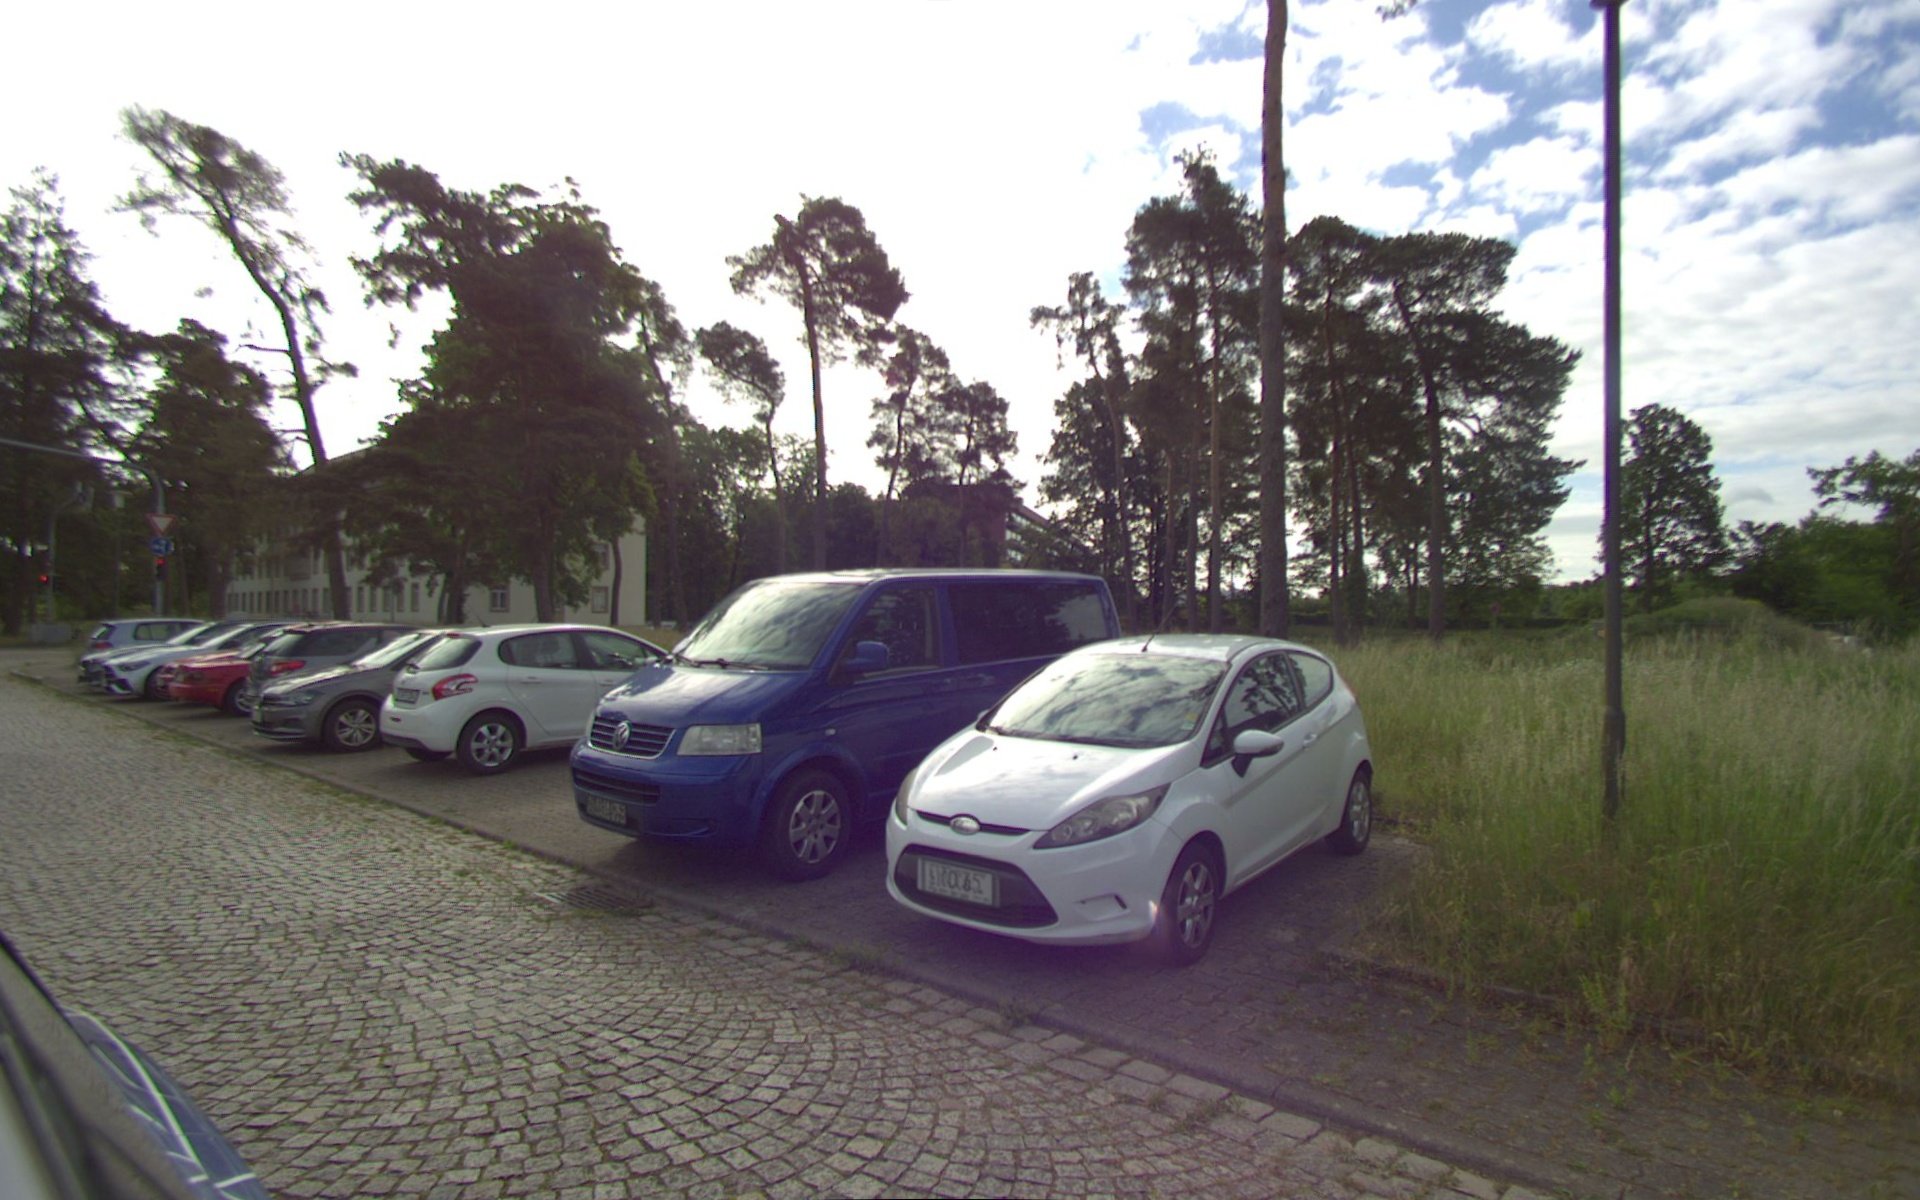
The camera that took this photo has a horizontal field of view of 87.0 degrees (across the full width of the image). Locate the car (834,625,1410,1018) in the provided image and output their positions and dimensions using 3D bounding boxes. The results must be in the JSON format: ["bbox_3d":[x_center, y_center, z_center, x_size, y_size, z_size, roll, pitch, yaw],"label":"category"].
[{"bbox_3d":[1.211,0.912,5.965,1.724,1.505,3.756,-1,-2,39],"label":"car"}]

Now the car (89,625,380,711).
[{"bbox_3d":[-14.282,1.260,20.121,1.949,1.466,4.389,0,-1,42],"label":"car"}]

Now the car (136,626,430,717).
[{"bbox_3d":[-12.402,1.232,18.763,1.854,1.466,4.209,-1,-2,41],"label":"car"}]

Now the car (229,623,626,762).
[{"bbox_3d":[-6.736,1.058,13.177,1.731,1.492,4.257,-2,-2,43],"label":"car"}]

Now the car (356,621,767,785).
[{"bbox_3d":[-4.371,1.010,11.531,1.843,1.513,3.961,-2,-2,43],"label":"car"}]

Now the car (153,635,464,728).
[{"bbox_3d":[-10.788,1.270,16.989,1.763,1.293,4.088,-1,-2,41],"label":"car"}]

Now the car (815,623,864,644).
[{"bbox_3d":[-10.209,2.810,85.886,1.717,1.622,4.000,1,0,43],"label":"car"}]

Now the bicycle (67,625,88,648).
[{"bbox_3d":[-43.623,1.786,50.030,1.415,1.082,0.491,-1,1,39],"label":"bicycle"}]

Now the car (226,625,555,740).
[{"bbox_3d":[-8.558,1.148,15.471,1.755,1.492,4.044,-2,-2,42],"label":"car"}]

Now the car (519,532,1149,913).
[{"bbox_3d":[-0.628,0.689,7.771,2.037,1.995,4.661,-1,-2,40],"label":"car"}]

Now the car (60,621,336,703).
[{"bbox_3d":[-16.312,1.243,21.878,1.868,1.548,4.458,0,-1,38],"label":"car"}]

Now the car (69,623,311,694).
[{"bbox_3d":[-18.049,1.298,23.881,1.827,1.481,4.282,0,-1,42],"label":"car"}]

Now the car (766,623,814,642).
[{"bbox_3d":[-15.290,2.956,91.322,1.718,1.622,3.998,1,0,45],"label":"car"}]
